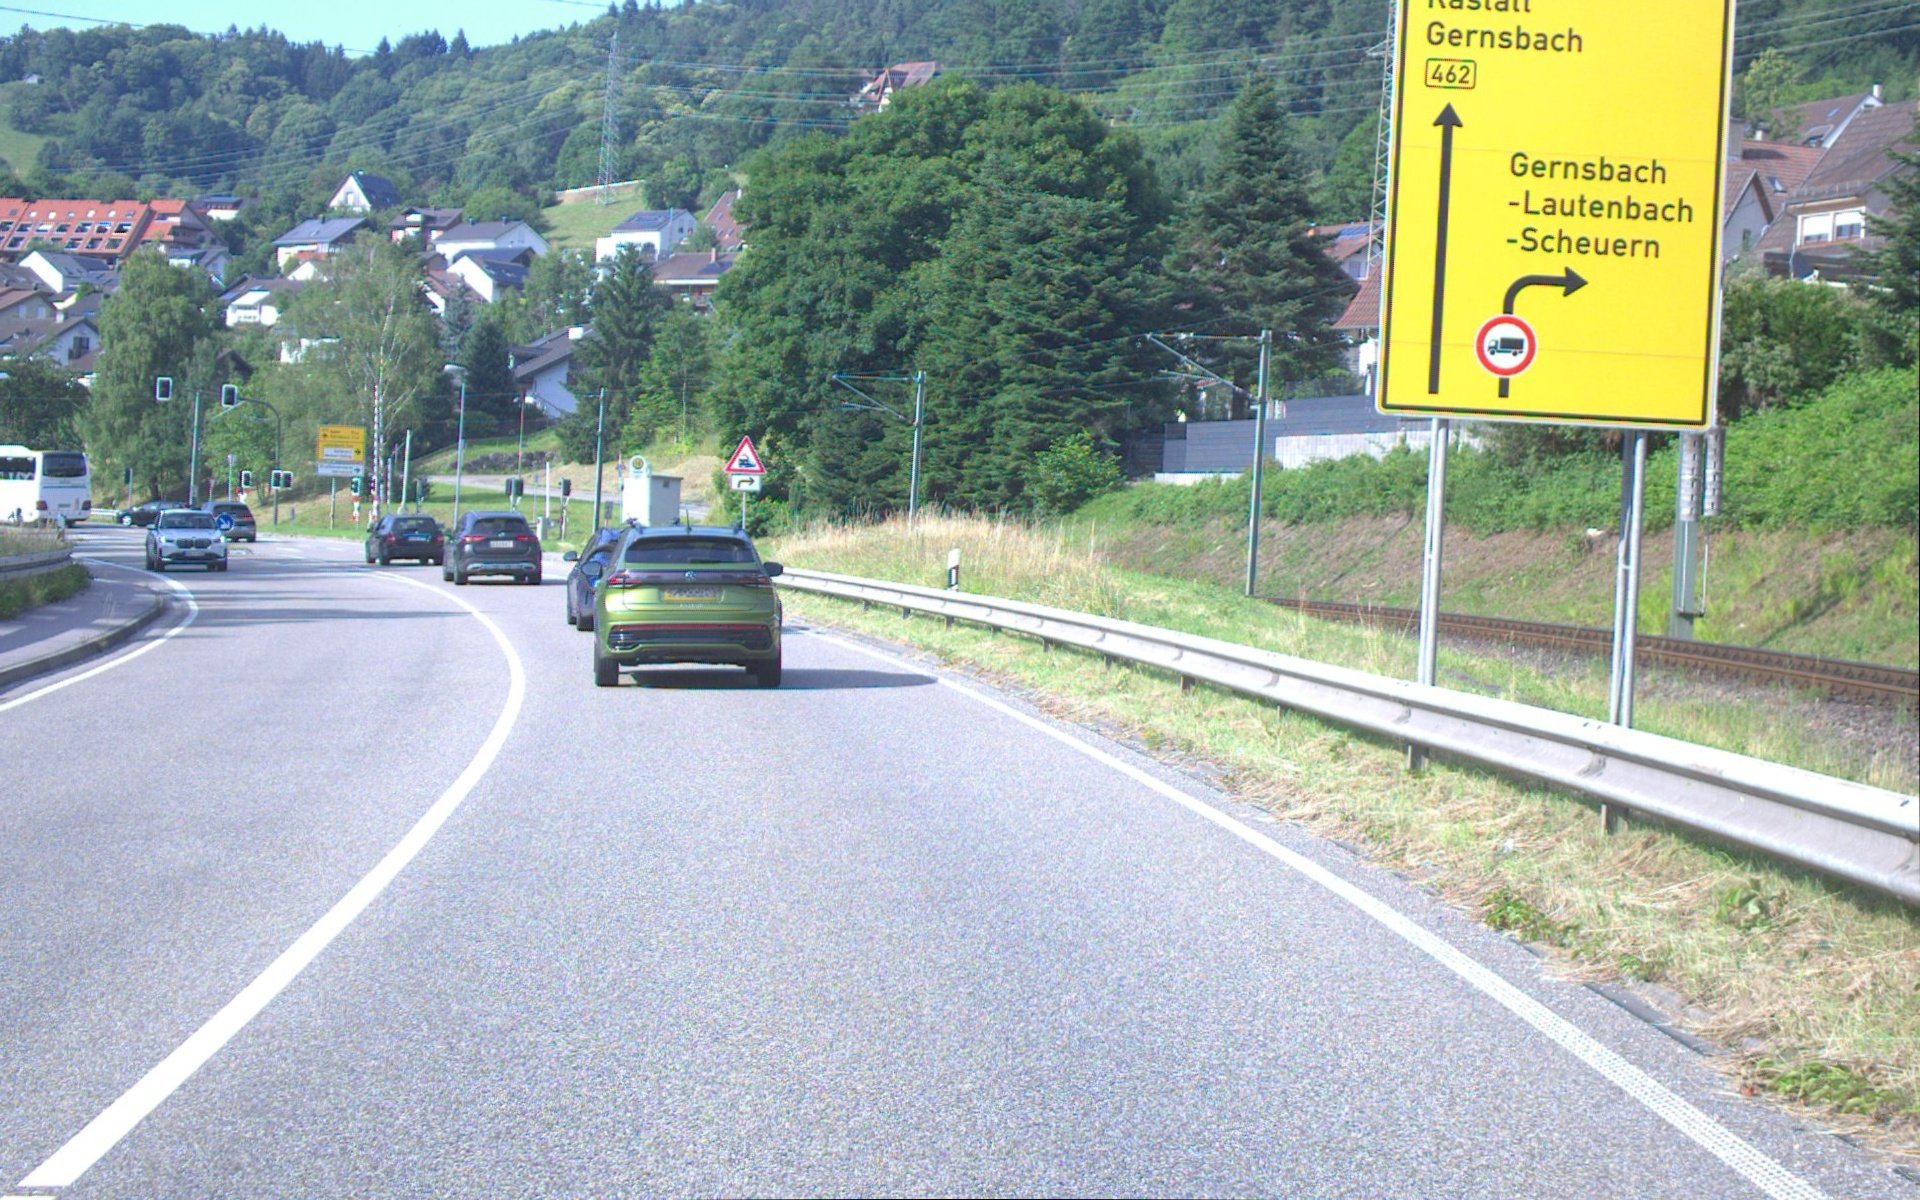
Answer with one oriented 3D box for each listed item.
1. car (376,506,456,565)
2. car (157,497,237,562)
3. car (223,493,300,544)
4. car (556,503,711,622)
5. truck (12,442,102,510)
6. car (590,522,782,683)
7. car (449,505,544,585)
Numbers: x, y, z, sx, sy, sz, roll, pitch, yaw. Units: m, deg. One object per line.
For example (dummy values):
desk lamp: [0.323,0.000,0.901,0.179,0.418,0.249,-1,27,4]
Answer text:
car: [-15.431,-1.840,97.443,1.848,1.521,3.664,2,2,-14]
car: [-20.018,-1.860,90.163,1.993,1.624,4.001,0,1,-13]
car: [-27.250,-3.189,134.056,2.062,1.805,4.001,3,1,-24]
car: [-4.615,-0.553,48.178,1.666,1.554,4.001,2,1,-12]
truck: [-42.403,-5.844,161.318,2.711,3.073,6.110,-1,3,-28]
car: [-2.683,-0.022,32.975,1.714,1.450,4.001,0,1,-6]
car: [-10.510,-1.264,77.733,1.879,1.681,4.001,2,1,-11]
